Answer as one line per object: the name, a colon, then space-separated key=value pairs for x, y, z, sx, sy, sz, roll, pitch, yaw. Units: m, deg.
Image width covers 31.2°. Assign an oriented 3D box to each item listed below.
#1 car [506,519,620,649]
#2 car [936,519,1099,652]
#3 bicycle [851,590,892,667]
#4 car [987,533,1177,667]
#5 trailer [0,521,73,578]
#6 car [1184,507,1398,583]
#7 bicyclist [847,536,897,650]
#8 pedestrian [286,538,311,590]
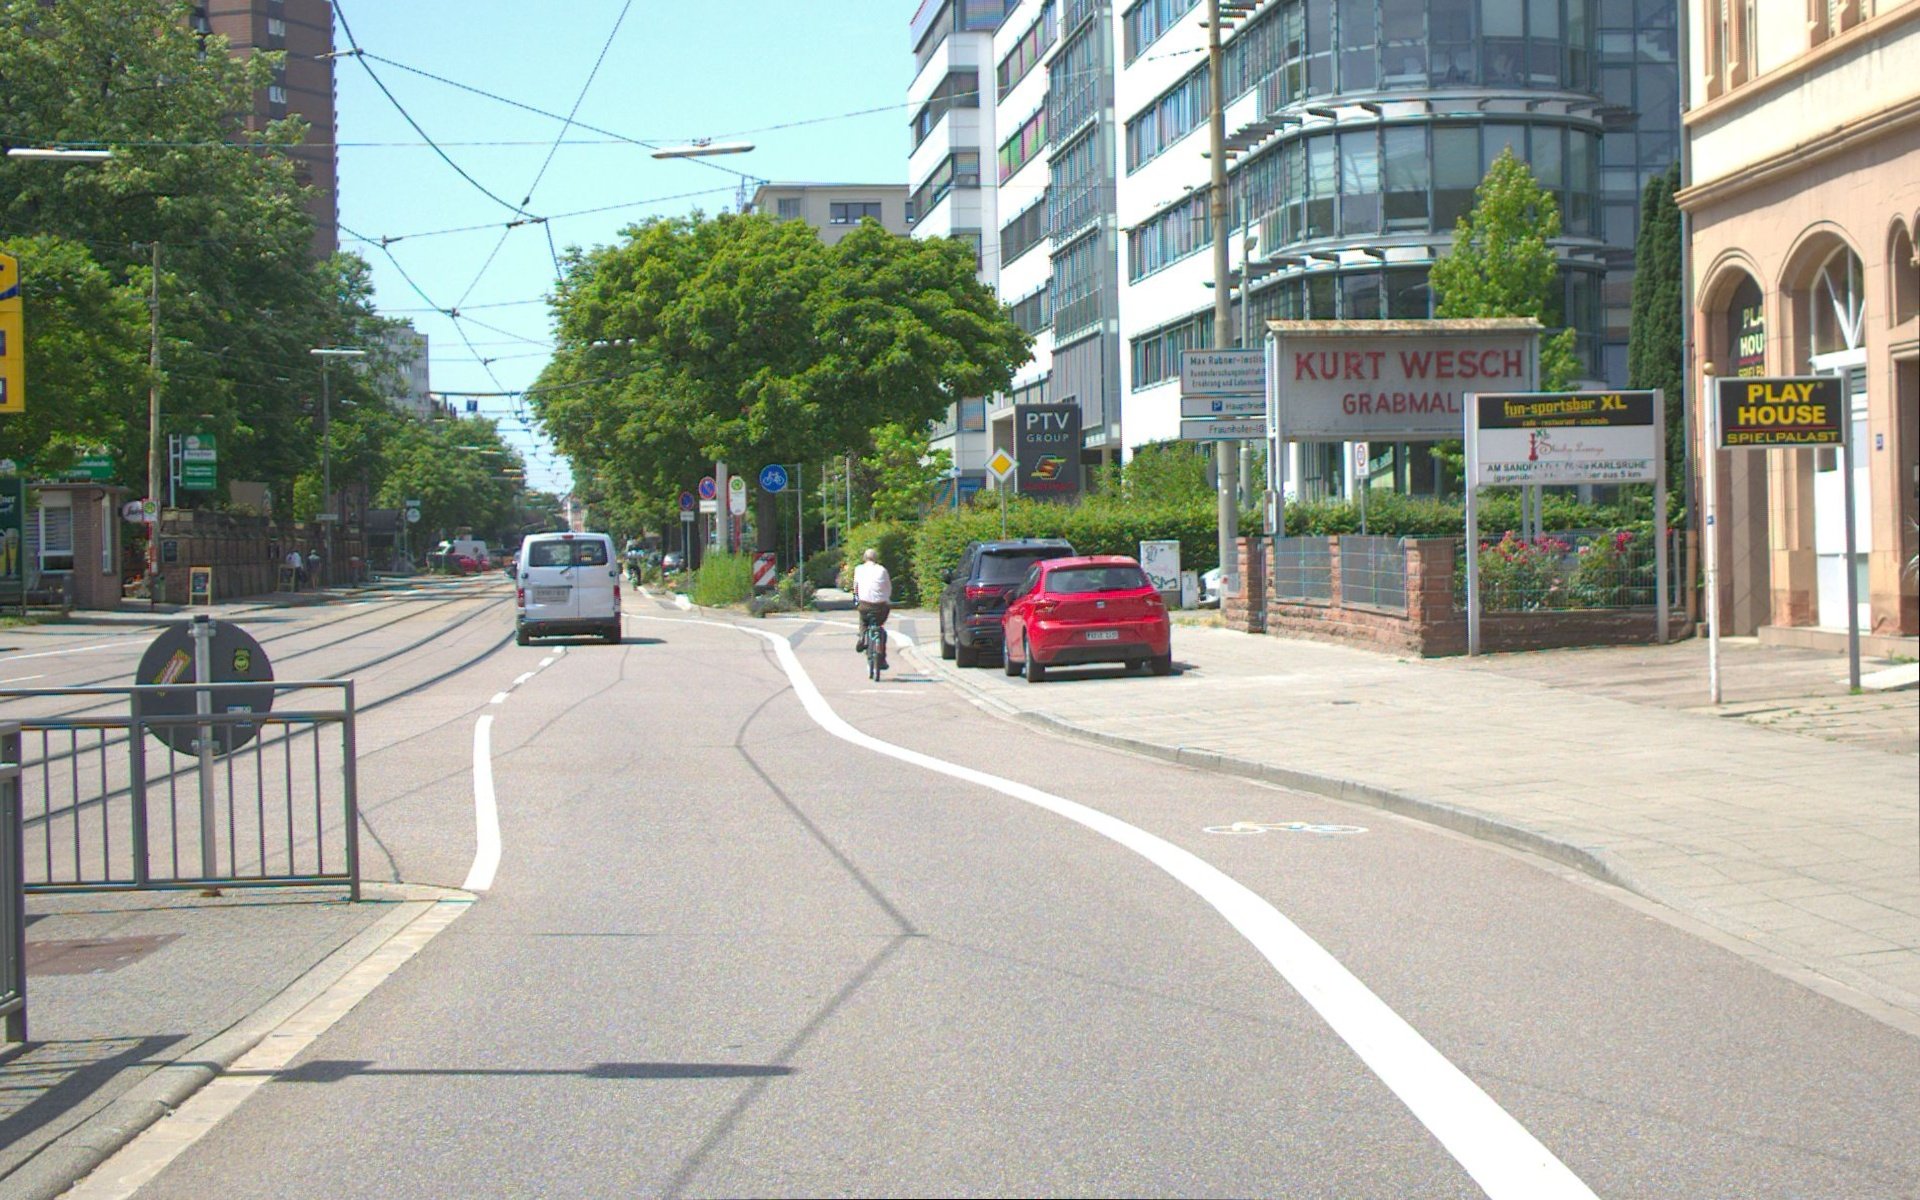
car: x=-6.654 y=-0.310 z=57.654 sx=1.752 sy=2.006 sz=4.001 roll=-2 pitch=2 yaw=-6
car: x=0.738 y=-0.251 z=47.738 sx=1.863 sy=1.681 sz=5.001 roll=-2 pitch=2 yaw=-3
bicycle: x=-1.111 y=0.342 z=42.953 sx=0.465 sy=0.884 sz=2.048 roll=-1 pitch=1 yaw=-3
car: x=1.427 y=-0.039 z=41.759 sx=1.711 sy=1.447 sz=4.073 roll=-3 pitch=2 yaw=-6
trailer: x=-25.284 y=-1.344 z=92.200 sx=2.727 sy=1.521 sz=1.330 roll=0 pitch=0 yaw=-5
car: x=6.302 y=-1.063 z=65.679 sx=3.798 sy=1.270 sz=1.556 roll=-2 pitch=2 yaw=-5
bicyclist: x=-1.107 y=-0.093 z=42.937 sx=0.591 sy=1.392 sz=0.842 roll=-1 pitch=1 yaw=-3
pedestrian: x=-26.143 y=-1.438 z=135.914 sx=0.863 sy=2.007 sz=0.646 roll=-3 pitch=0 yaw=-8
